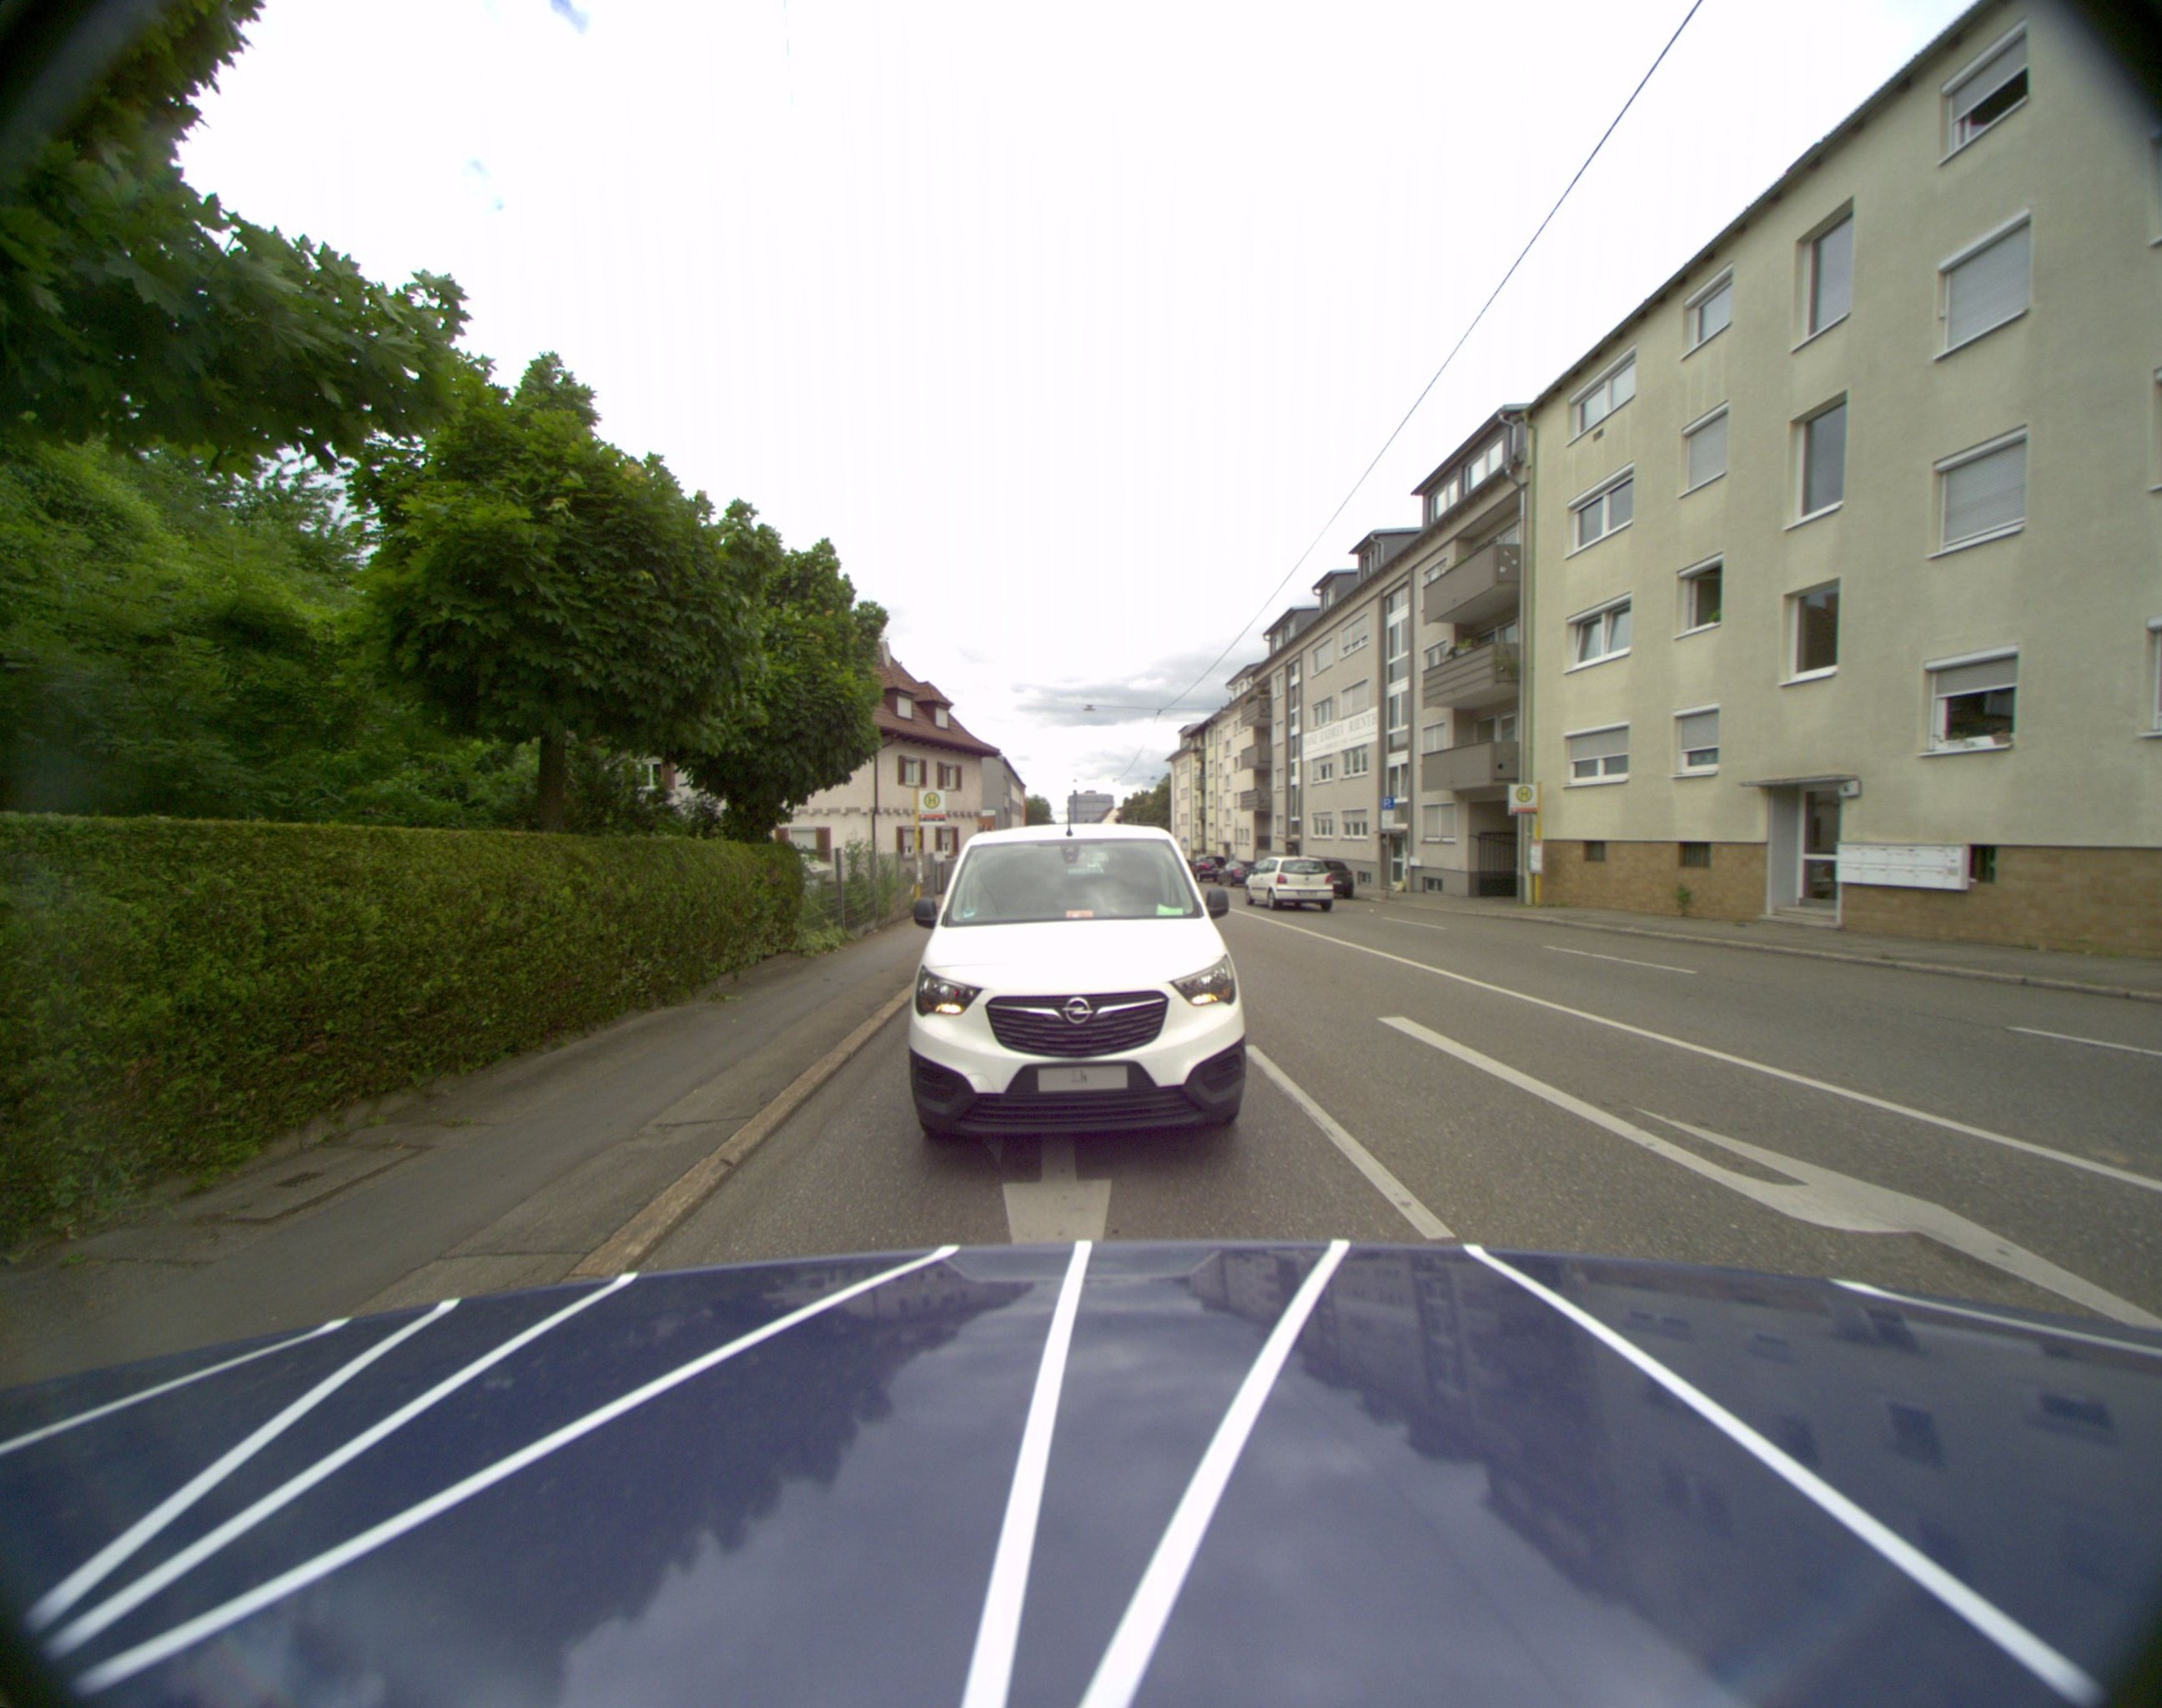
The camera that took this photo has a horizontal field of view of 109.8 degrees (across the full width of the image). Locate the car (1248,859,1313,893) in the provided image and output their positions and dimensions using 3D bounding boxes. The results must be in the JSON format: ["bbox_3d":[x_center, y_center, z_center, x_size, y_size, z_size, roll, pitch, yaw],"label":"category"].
[{"bbox_3d":[8.736,0.929,33.515,1.669,1.368,3.538,0,1,-5],"label":"car"}]

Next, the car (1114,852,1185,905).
[{"bbox_3d":[2.314,0.797,26.743,1.863,1.601,4.478,-2,1,-2],"label":"car"}]

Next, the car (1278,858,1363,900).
[{"bbox_3d":[8.907,0.894,28.566,1.776,1.403,3.685,0,1,-5],"label":"car"}]

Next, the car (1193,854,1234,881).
[{"bbox_3d":[8.442,0.851,48.678,1.776,1.591,3.538,0,1,-5],"label":"car"}]

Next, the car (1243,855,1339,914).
[{"bbox_3d":[5.807,0.794,21.425,1.592,1.474,3.598,-1,1,-2],"label":"car"}]

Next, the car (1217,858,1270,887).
[{"bbox_3d":[8.397,0.925,39.544,1.776,1.395,3.538,0,1,-5],"label":"car"}]

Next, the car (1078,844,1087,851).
[{"bbox_3d":[0.338,-1.632,199.702,1.999,1.892,3.998,-1,0,-4],"label":"car"}]

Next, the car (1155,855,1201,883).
[{"bbox_3d":[5.248,0.803,41.637,1.776,1.395,3.642,0,1,-5],"label":"car"}]

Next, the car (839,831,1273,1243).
[{"bbox_3d":[-0.075,0.793,5.730,1.862,1.772,4.711,-2,1,1],"label":"car"}]

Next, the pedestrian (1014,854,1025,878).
[{"bbox_3d":[-4.646,0.902,57.351,0.647,1.830,0.592,-1,1,4],"label":"pedestrian"}]

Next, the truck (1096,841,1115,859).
[{"bbox_3d":[3.634,-0.580,112.898,2.546,2.522,5.493,-3,1,0],"label":"truck"}]
